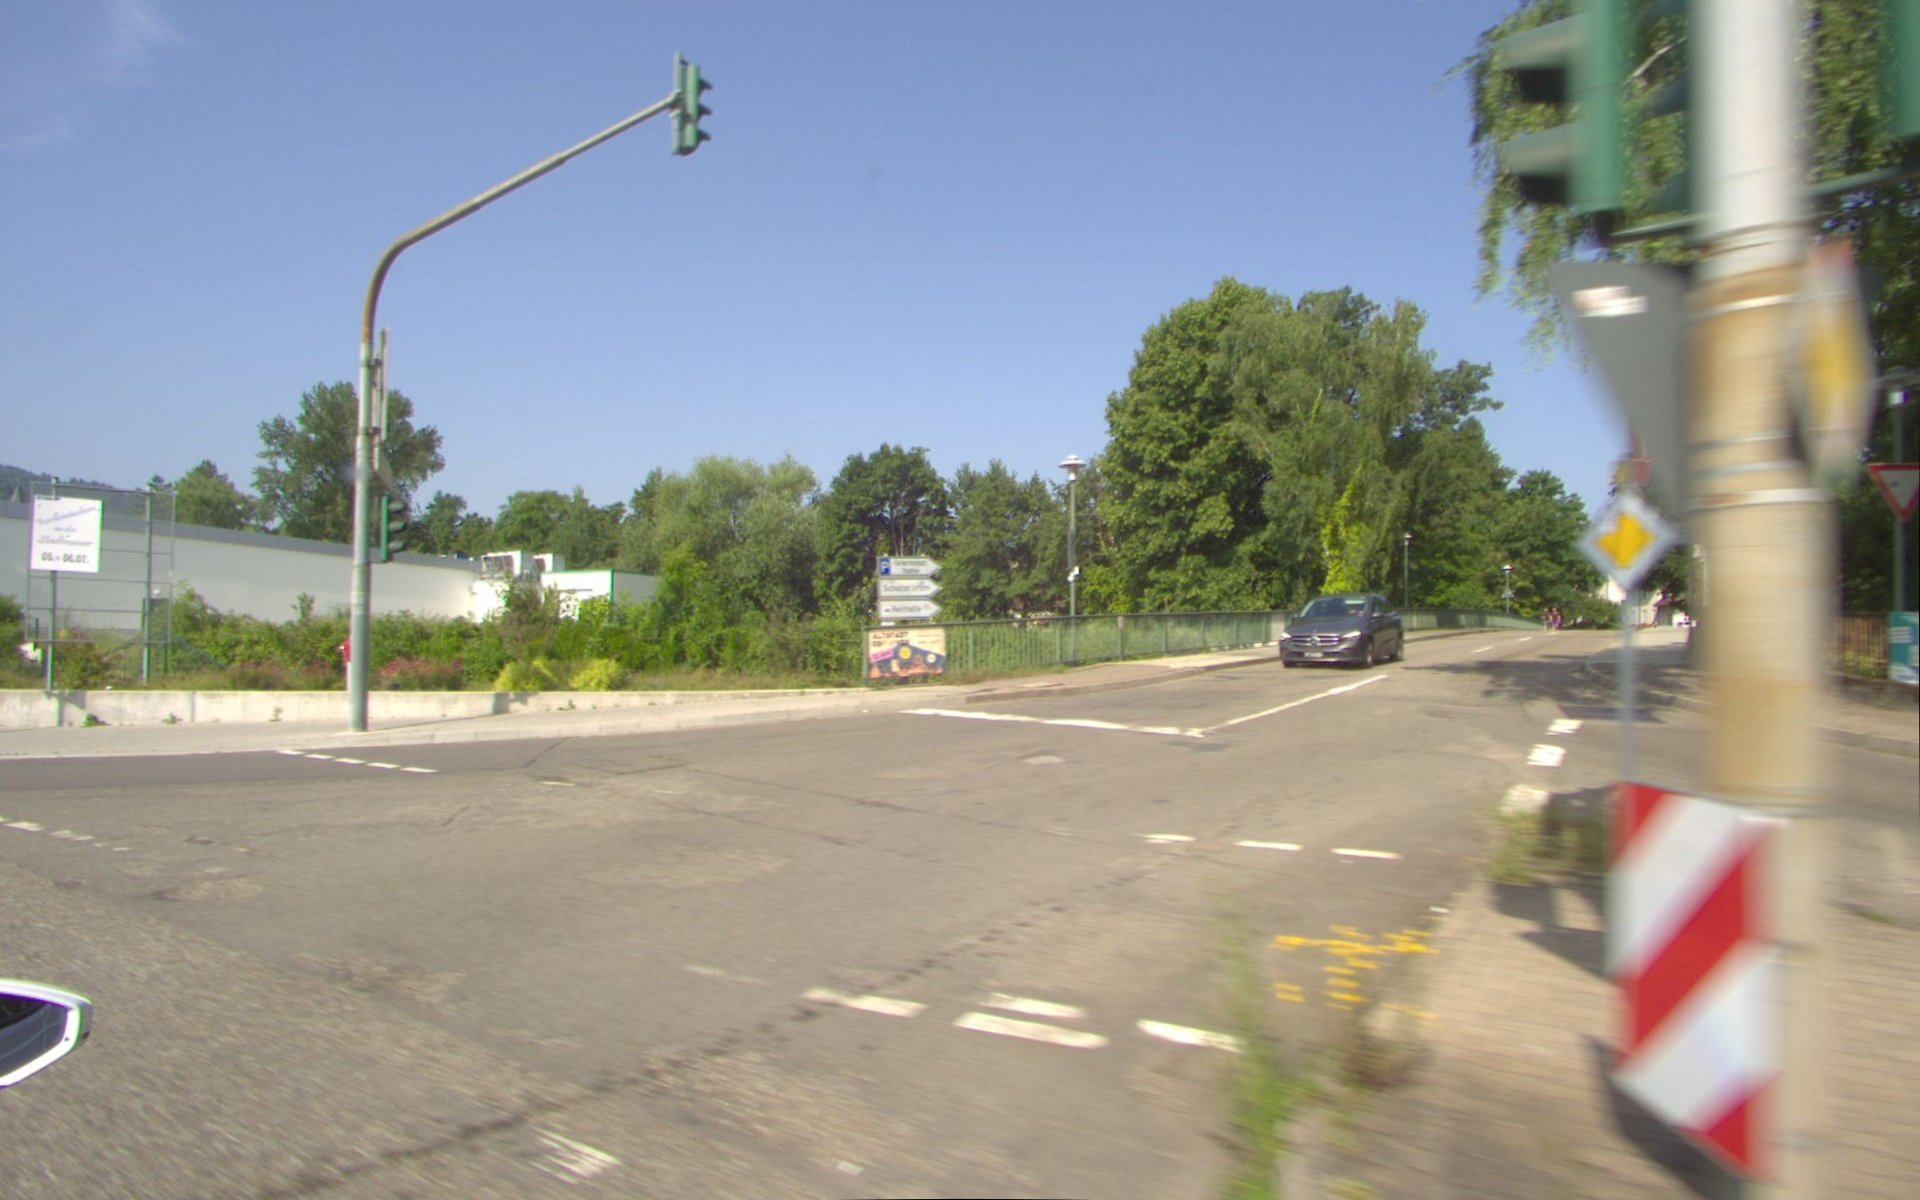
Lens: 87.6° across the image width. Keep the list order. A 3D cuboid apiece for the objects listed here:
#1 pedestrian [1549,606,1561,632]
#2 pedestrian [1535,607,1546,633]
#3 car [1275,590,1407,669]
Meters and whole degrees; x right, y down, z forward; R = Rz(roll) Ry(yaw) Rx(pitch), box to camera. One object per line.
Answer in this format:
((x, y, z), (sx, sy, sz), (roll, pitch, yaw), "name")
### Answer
((44.225, 1.450, 74.454), (0.727, 1.927, 0.626), (-1, -1, 32), "pedestrian")
((43.465, 1.498, 74.948), (0.727, 1.911, 0.626), (-1, -1, 32), "pedestrian")
((8.326, 0.624, 21.682), (1.646, 1.537, 4.058), (-1, -1, 36), "car")
